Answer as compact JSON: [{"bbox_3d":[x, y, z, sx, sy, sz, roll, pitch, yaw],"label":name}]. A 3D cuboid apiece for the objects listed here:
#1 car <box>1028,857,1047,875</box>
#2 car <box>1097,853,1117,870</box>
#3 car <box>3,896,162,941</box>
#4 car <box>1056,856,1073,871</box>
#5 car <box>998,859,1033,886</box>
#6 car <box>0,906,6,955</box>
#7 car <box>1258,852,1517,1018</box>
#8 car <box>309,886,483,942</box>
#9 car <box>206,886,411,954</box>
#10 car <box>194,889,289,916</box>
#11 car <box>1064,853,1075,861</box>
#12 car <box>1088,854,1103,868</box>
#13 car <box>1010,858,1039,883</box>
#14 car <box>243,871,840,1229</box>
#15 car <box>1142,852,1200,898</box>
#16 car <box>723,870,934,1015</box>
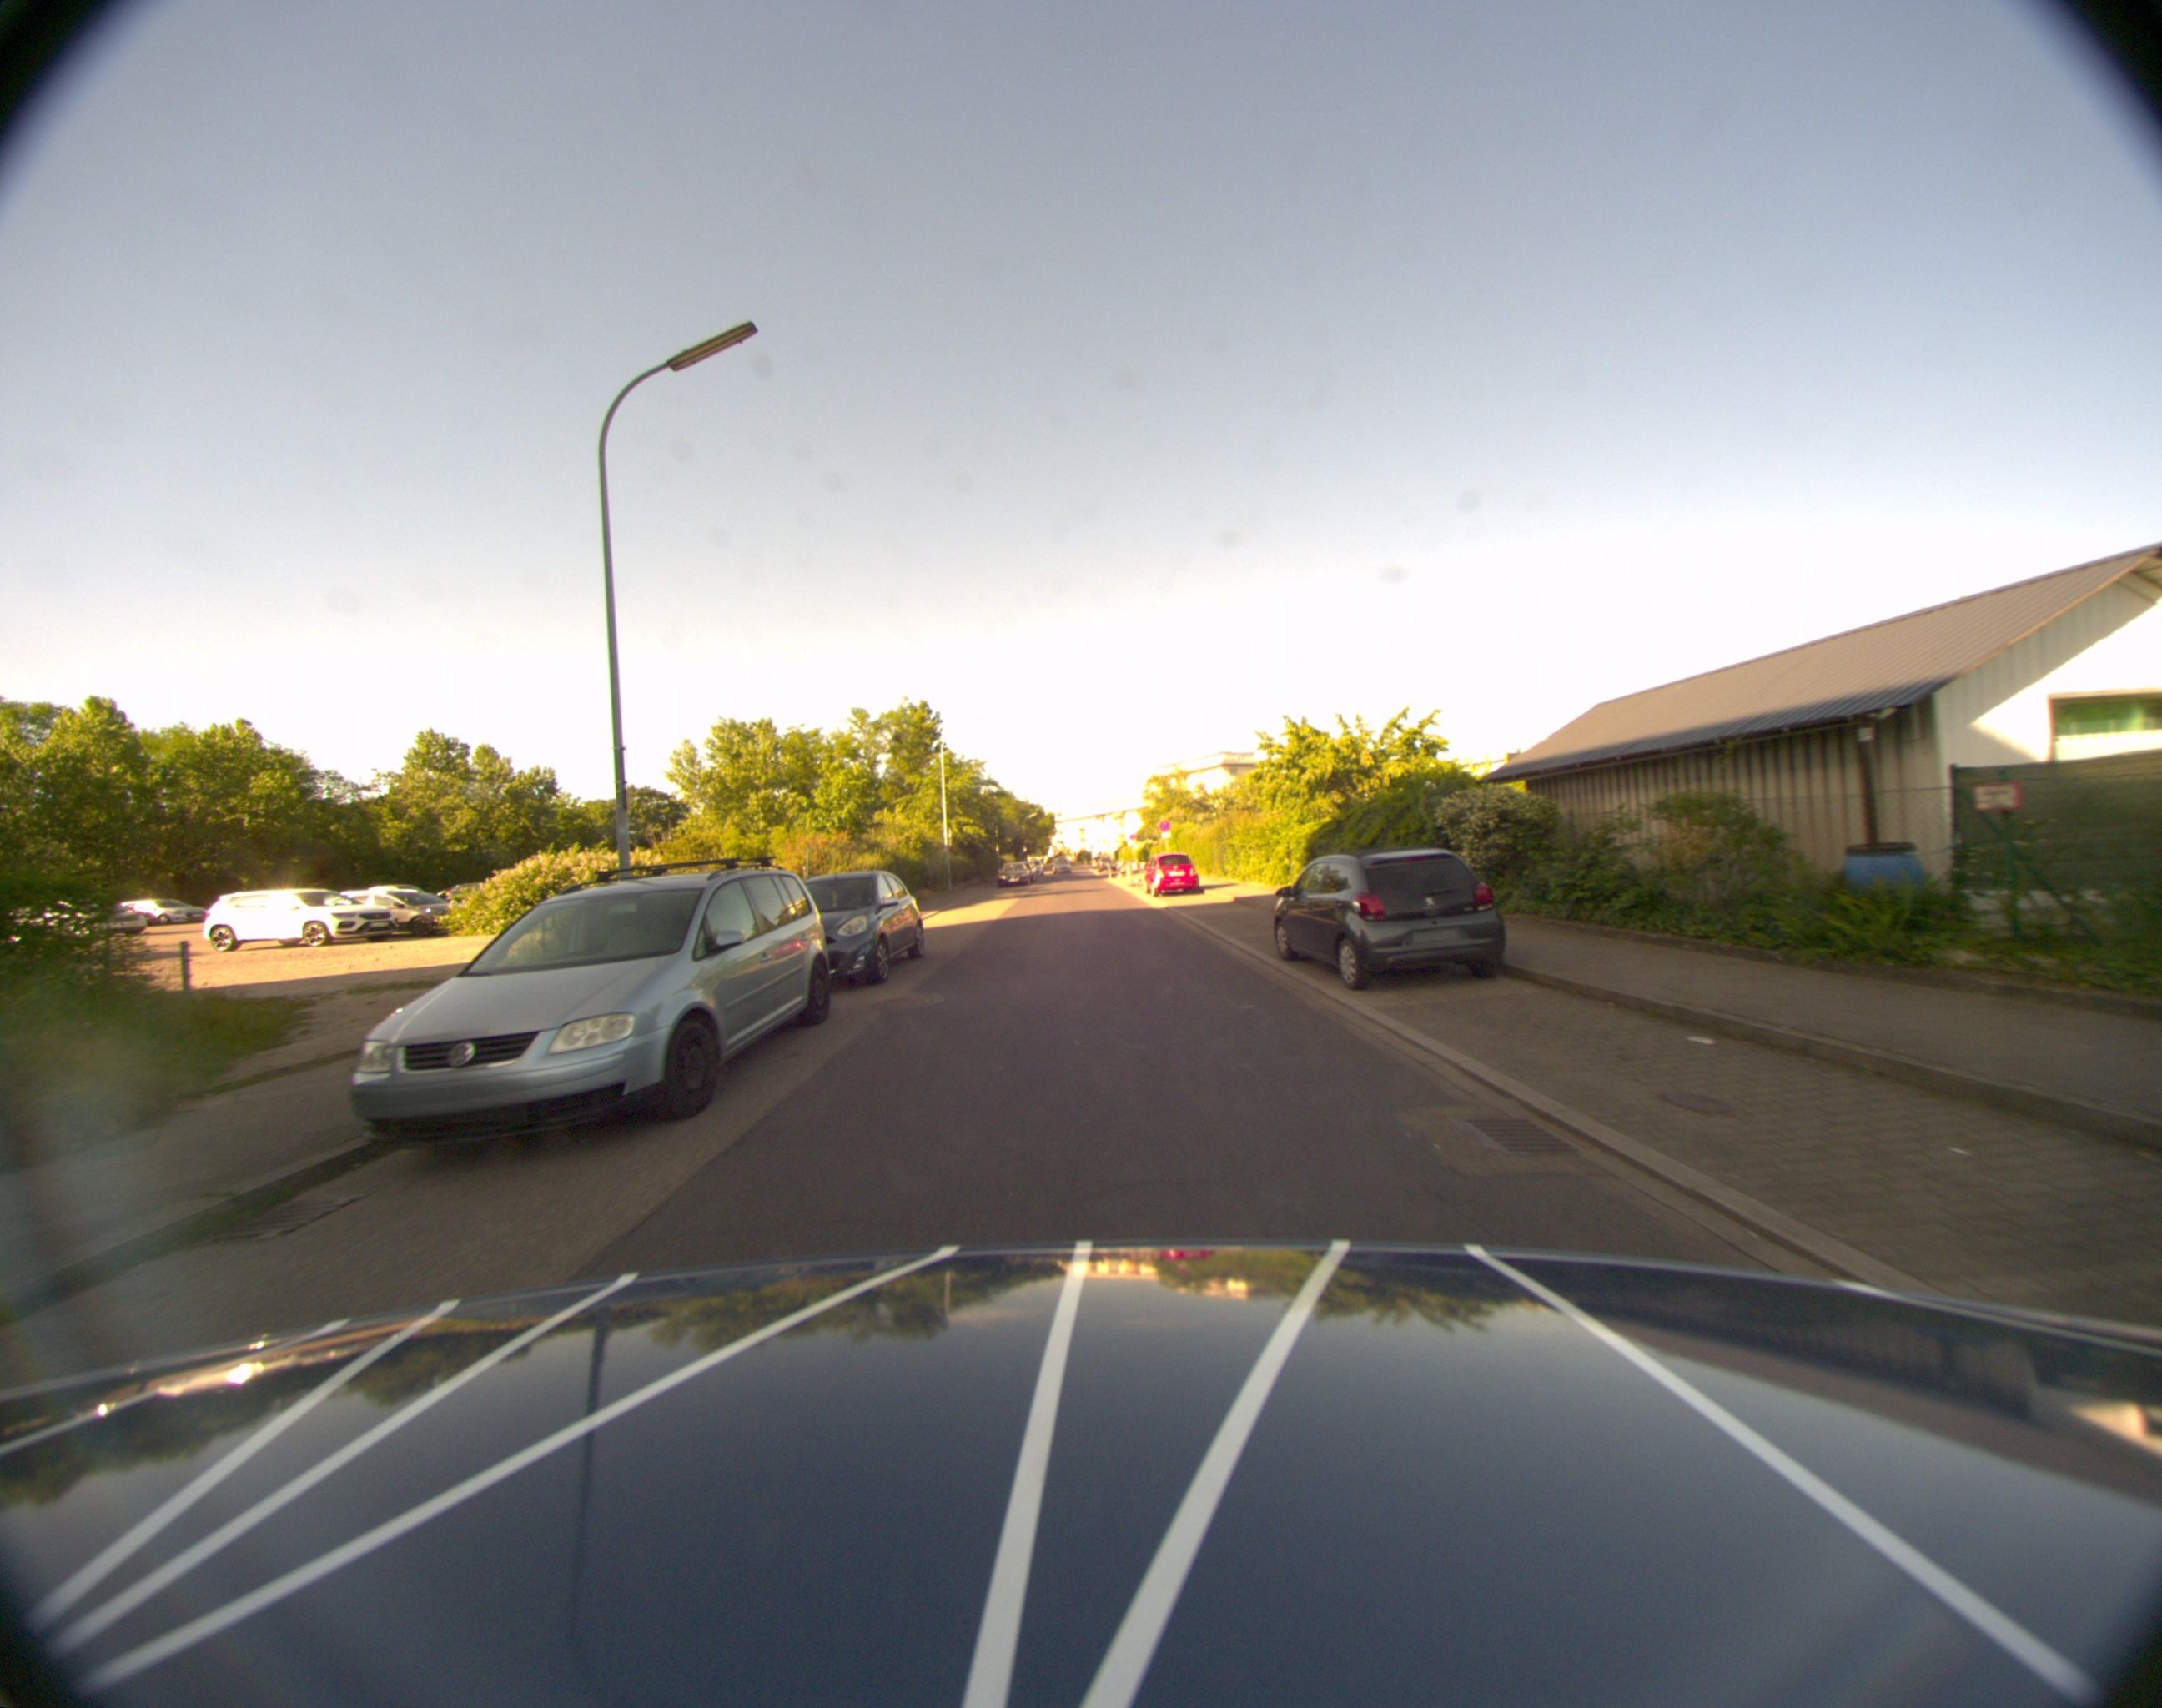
[{"bbox_3d":[-4.216,1.113,74.120,1.560,1.529,3.555,-5,0,-1],"label":"car"},{"bbox_3d":[2.477,0.730,74.045,1.648,1.547,4.417,-3,0,-1],"label":"car"},{"bbox_3d":[-38.293,2.449,29.195,3.886,1.457,1.688,-2,1,2],"label":"car"},{"bbox_3d":[-1.602,0.963,76.396,1.597,1.417,4.171,-1,0,0],"label":"car"},{"bbox_3d":[-4.006,1.117,47.043,1.758,1.405,4.655,-5,0,-2],"label":"car"},{"bbox_3d":[-33.600,2.339,21.645,3.676,1.452,1.628,-3,1,2],"label":"car"},{"bbox_3d":[3.442,0.789,9.276,1.564,1.486,3.570,-6,0,-1],"label":"car"},{"bbox_3d":[-21.437,1.856,23.877,3.887,1.430,1.688,-3,1,2],"label":"car"},{"bbox_3d":[-21.469,1.805,21.228,3.915,1.579,1.755,-3,1,2],"label":"car"},{"bbox_3d":[-52.354,3.005,47.422,3.886,1.413,1.839,-2,1,2],"label":"car"},{"bbox_3d":[-2.236,0.545,150.194,1.733,1.455,4.680,-2,-1,-6],"label":"car"},{"bbox_3d":[1.722,0.830,91.782,1.647,1.590,4.311,-5,0,1],"label":"car"},{"bbox_3d":[-3.949,1.120,53.316,1.659,1.436,4.655,-5,0,-1],"label":"car"},{"bbox_3d":[-3.446,1.058,6.031,1.681,1.599,4.178,-5,0,-1],"label":"car"},{"bbox_3d":[3.194,0.691,27.475,1.564,1.486,3.570,-3,0,-1],"label":"car"},{"bbox_3d":[-3.441,1.113,11.163,1.627,1.517,3.901,-5,0,0],"label":"car"}]
